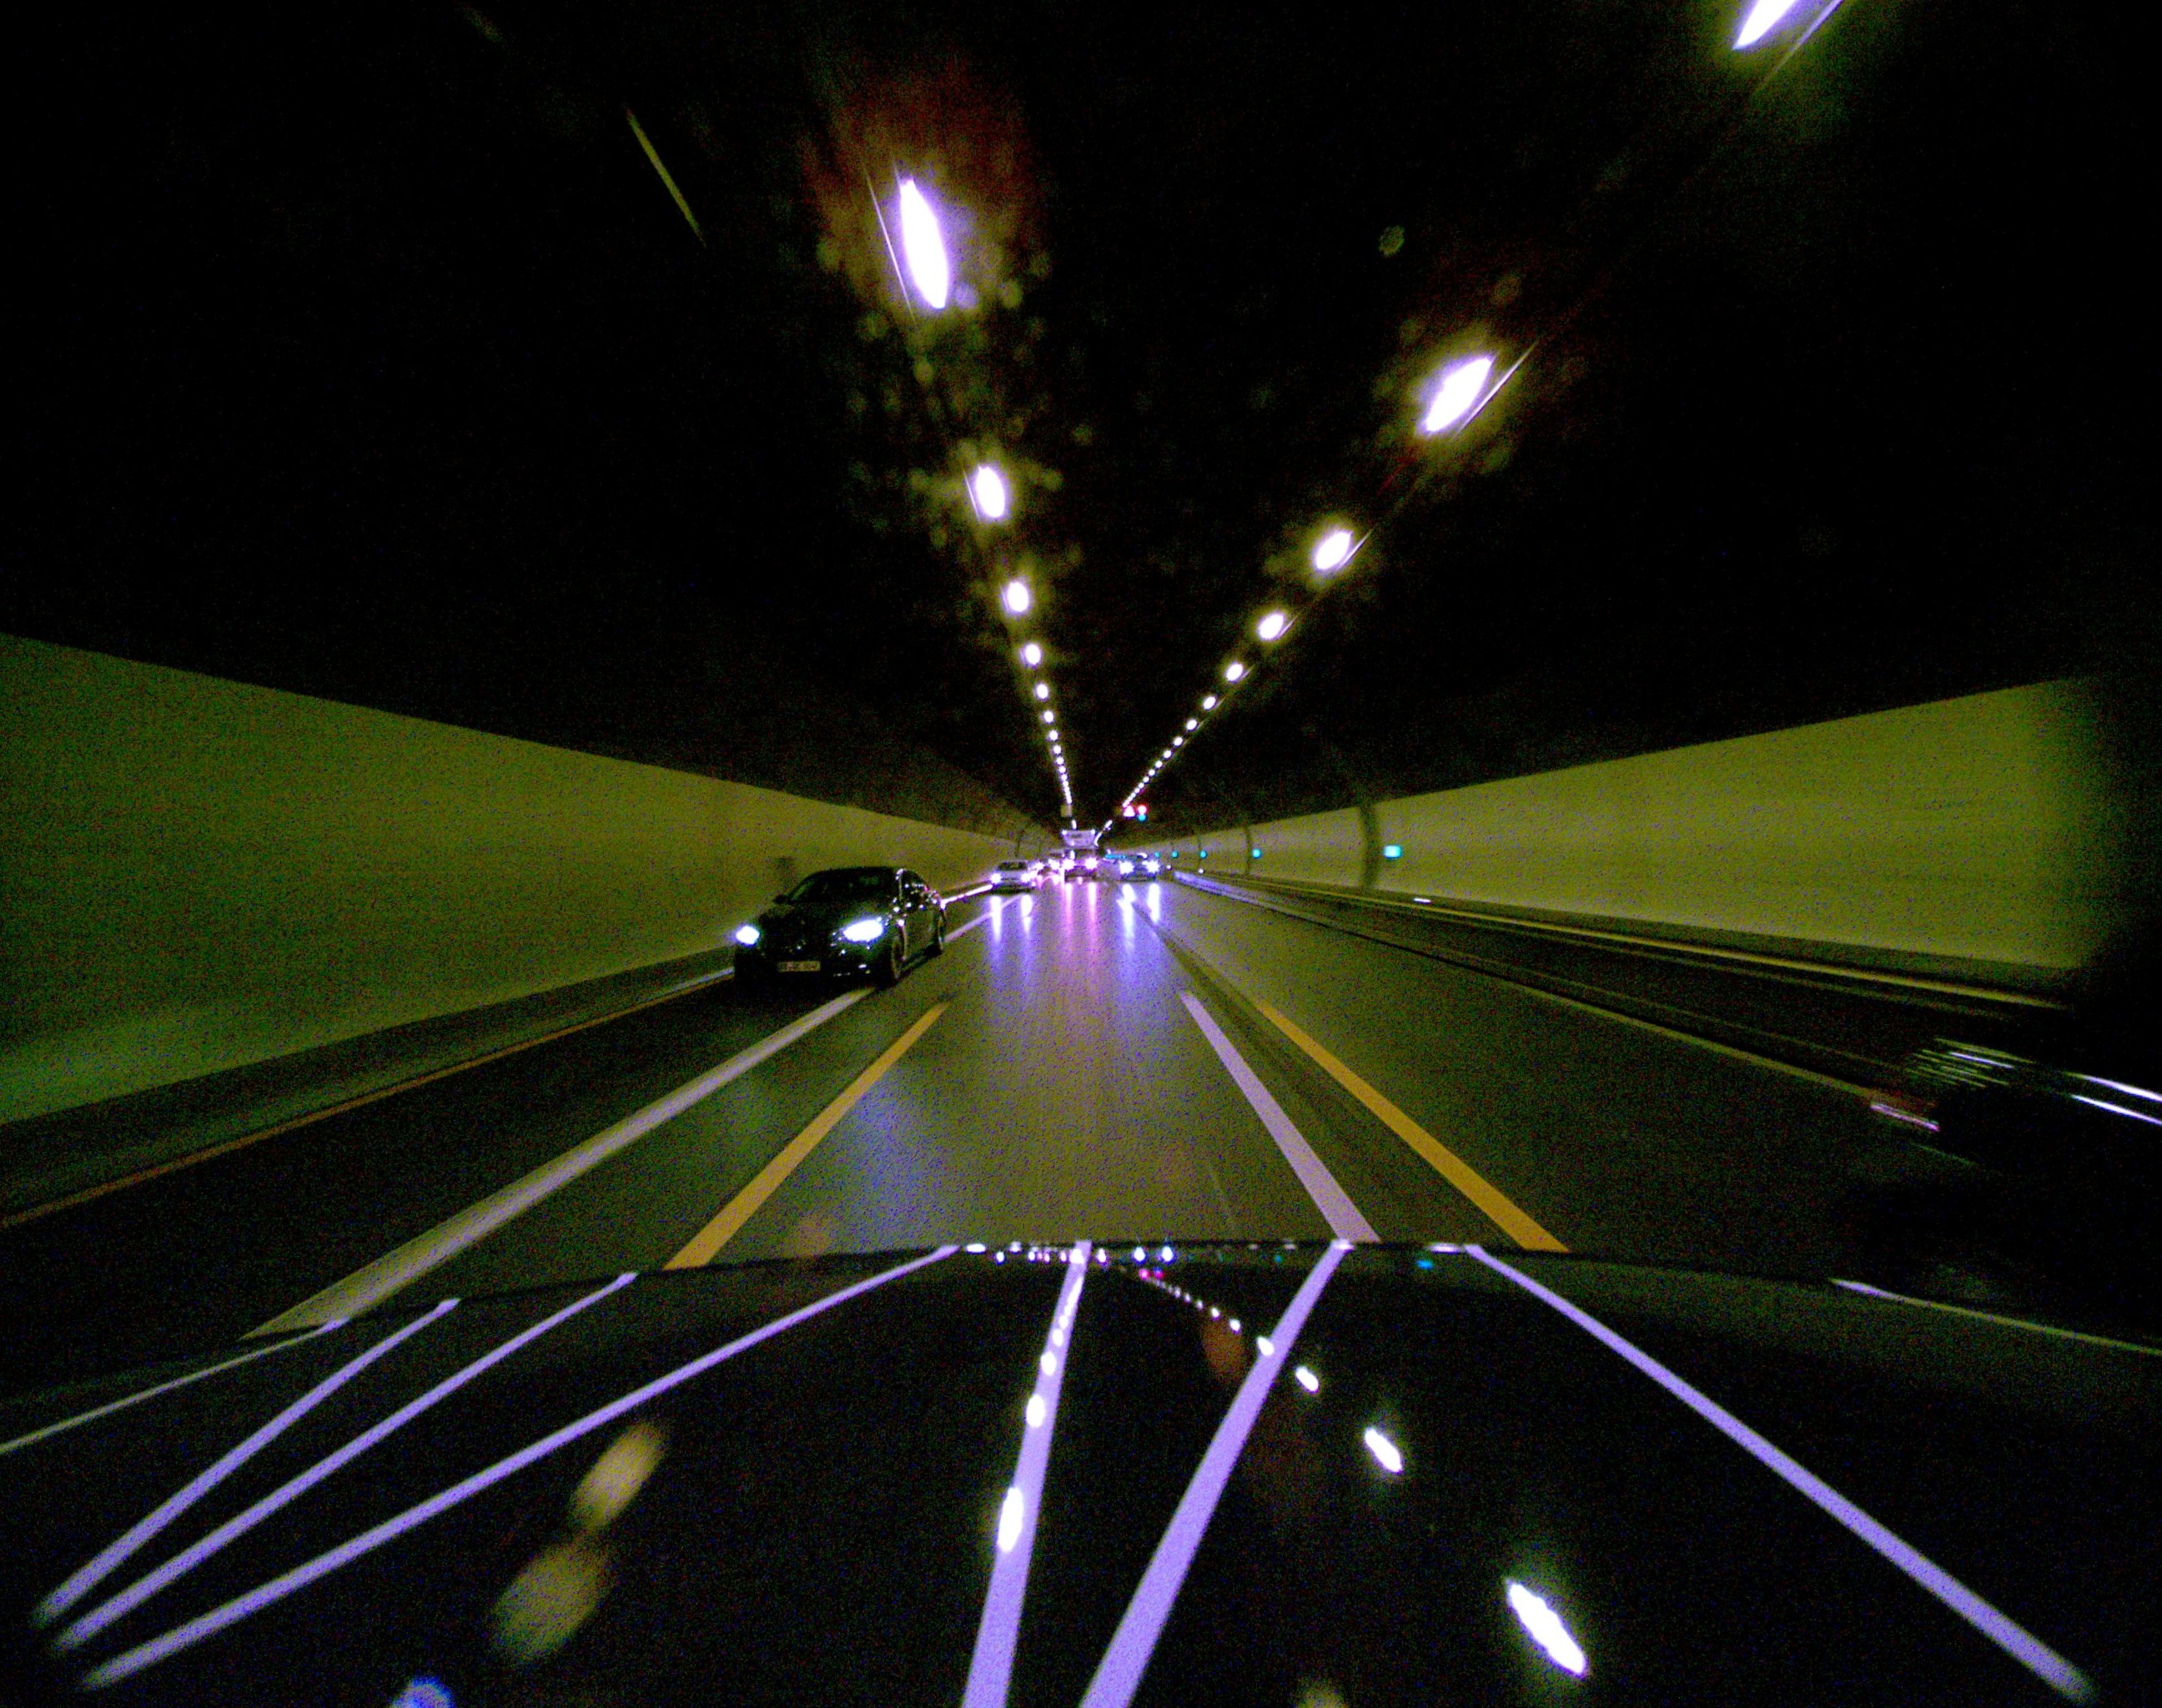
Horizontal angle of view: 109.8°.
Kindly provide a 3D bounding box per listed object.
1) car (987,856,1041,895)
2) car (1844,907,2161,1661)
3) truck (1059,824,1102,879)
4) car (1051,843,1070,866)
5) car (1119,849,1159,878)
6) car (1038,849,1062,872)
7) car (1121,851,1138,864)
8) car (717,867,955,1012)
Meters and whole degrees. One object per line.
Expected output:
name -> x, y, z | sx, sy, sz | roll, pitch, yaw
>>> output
car -> -3.006, 0.927, 35.140 | 1.998, 1.531, 4.742 | -2, 1, 0
car -> 2.928, 0.858, 0.118 | 1.693, 1.409, 3.923 | -2, 0, 1
truck -> 0.013, -0.166, 49.977 | 2.533, 3.314, 7.715 | -2, 0, 0
car -> -2.534, -0.003, 93.993 | 1.998, 2.710, 6.273 | -2, 1, 0
car -> 3.363, 0.526, 44.656 | 1.998, 1.531, 4.742 | -2, 1, 0
car -> -2.820, 0.594, 69.839 | 1.999, 2.002, 4.853 | -2, 0, -1
car -> 6.062, 0.413, 94.994 | 1.998, 1.531, 4.852 | -2, 1, 4
car -> -3.128, 0.998, 10.784 | 1.825, 1.469, 4.521 | -2, 0, 0
